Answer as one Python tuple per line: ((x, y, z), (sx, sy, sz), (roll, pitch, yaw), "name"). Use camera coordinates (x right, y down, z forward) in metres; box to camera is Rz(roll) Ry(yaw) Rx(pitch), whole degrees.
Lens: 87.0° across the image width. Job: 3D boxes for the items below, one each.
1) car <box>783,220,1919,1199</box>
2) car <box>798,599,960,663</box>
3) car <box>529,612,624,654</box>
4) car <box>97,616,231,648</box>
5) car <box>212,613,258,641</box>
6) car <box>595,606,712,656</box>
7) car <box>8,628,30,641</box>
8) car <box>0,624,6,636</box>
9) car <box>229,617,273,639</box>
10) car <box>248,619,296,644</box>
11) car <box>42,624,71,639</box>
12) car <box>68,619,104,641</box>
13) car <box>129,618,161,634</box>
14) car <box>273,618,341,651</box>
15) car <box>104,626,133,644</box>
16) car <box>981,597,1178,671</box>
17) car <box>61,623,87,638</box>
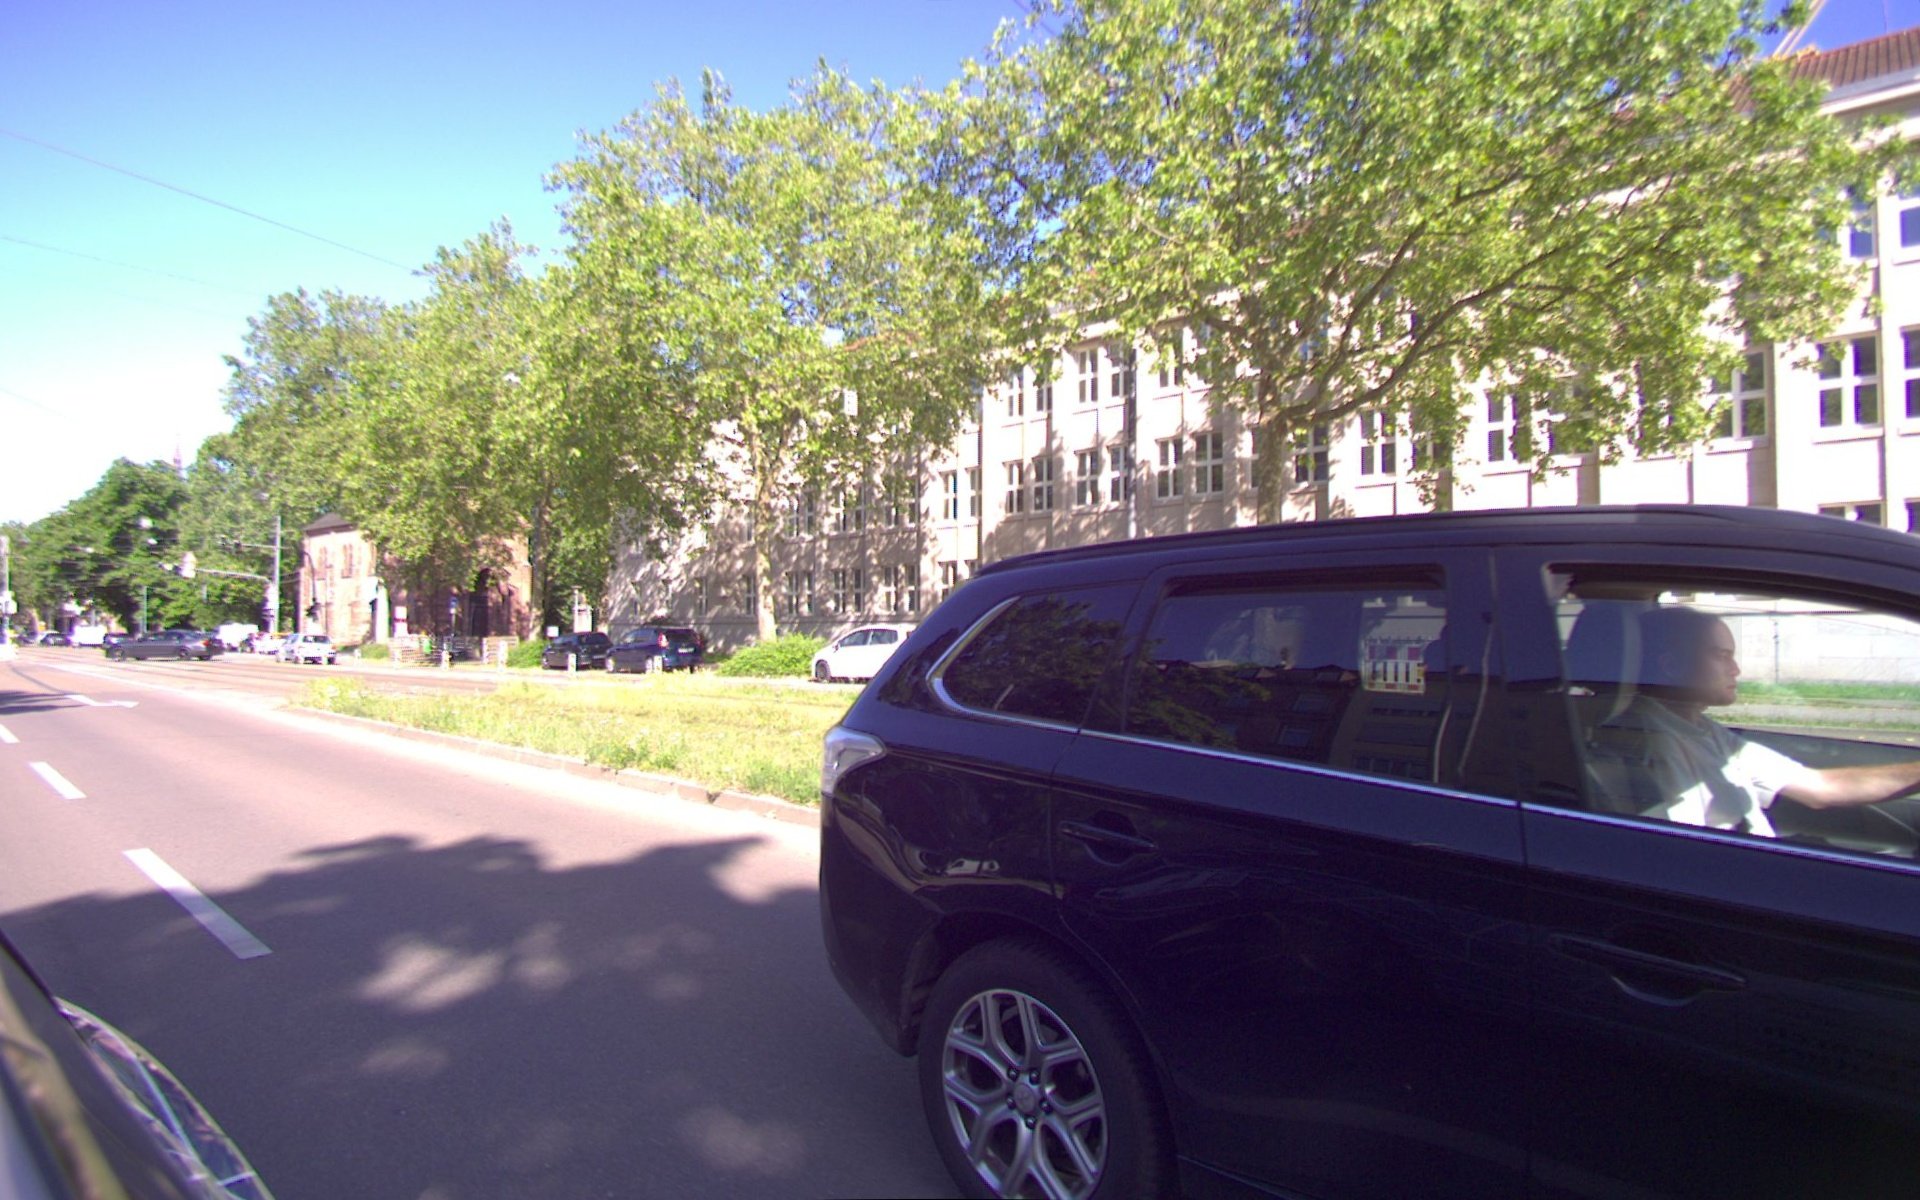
((1.795, 0.372, 1.999), (4.643, 1.695, 1.816), (-1, -2, 43), "car")
((-2.240, 0.858, 27.345), (4.393, 1.600, 1.811), (-2, -4, 41), "car")
((-14.862, 1.275, 39.098), (4.187, 1.559, 1.654), (-2, -3, 41), "car")
((-38.814, 1.602, 49.452), (4.883, 1.464, 1.838), (1, -3, -6), "car")
((-55.017, 2.068, 76.773), (4.591, 2.113, 1.896), (-2, -3, 42), "car")
((-10.700, 1.100, 35.174), (4.393, 1.652, 1.811), (-2, -4, 41), "car")
((-117.934, 4.333, 126.829), (4.307, 1.563, 1.771), (-2, -3, 43), "car")
((-112.806, 3.514, 118.154), (4.376, 1.440, 1.773), (-2, -3, 43), "car")
((-51.436, 2.063, 73.393), (3.859, 1.563, 1.771), (-2, -3, 42), "car")
((-47.528, 2.184, 69.892), (3.674, 1.586, 1.756), (-3, -4, 40), "car")
((-92.033, 3.203, 103.047), (4.376, 1.440, 1.773), (-2, -3, 43), "car")
((-79.367, 2.755, 91.851), (2.037, 1.906, 4.519), (5, -5, -45), "car")
((-79.197, 2.551, 98.339), (4.307, 1.563, 1.771), (-2, -3, 43), "car")
((-30.818, 1.638, 47.711), (1.809, 1.464, 4.173), (3, -4, -45), "car")
((-68.356, 2.857, 82.211), (1.596, 1.423, 4.092), (2, -4, -43), "car")
((2.608, 0.766, 22.773), (4.182, 1.504, 1.809), (-2, -3, 44), "car")
((-101.095, 3.496, 115.439), (4.307, 1.564, 1.771), (-3, -4, 43), "car")
